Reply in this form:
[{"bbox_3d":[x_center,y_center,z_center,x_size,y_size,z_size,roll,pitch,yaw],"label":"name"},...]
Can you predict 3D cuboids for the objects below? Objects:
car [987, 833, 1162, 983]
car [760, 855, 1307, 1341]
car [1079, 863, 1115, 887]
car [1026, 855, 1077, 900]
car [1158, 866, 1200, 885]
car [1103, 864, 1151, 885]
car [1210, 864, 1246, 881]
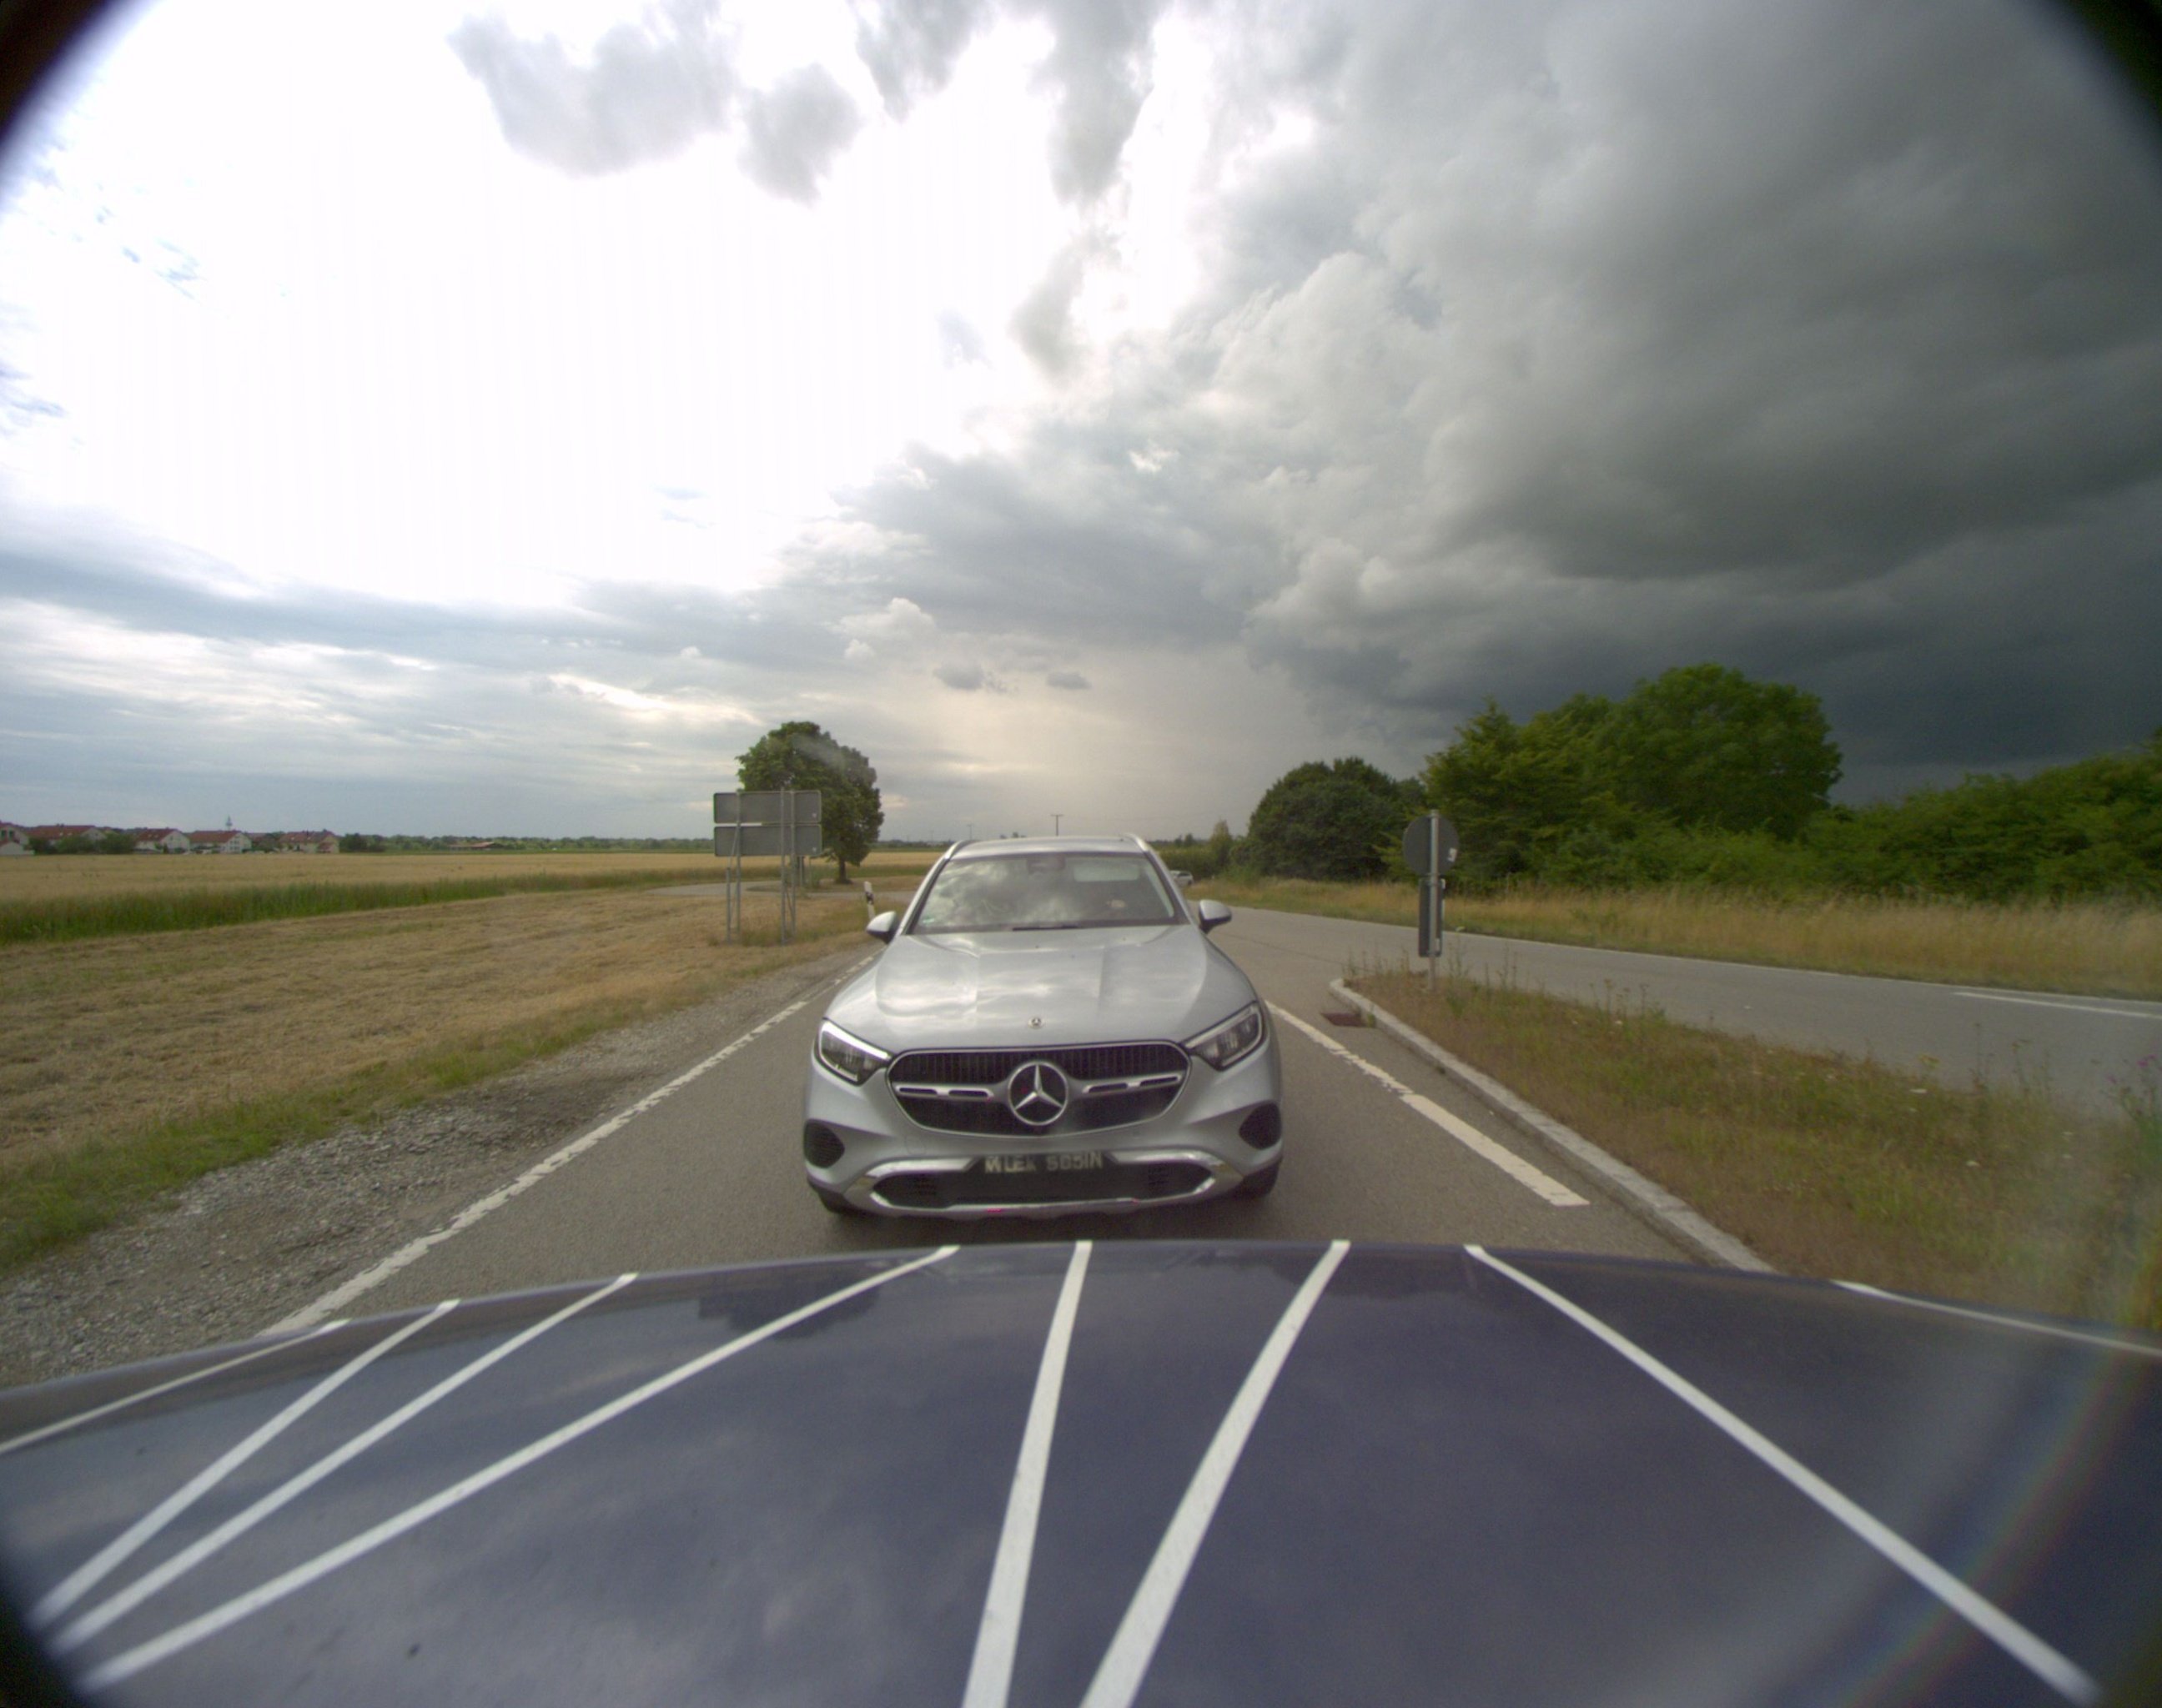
[{"bbox_3d":[-0.096,0.641,11.405,1.999,1.709,5.208,1,0,0],"label":"car"},{"bbox_3d":[-0.225,0.824,4.796,1.837,1.577,4.448,0,1,-2],"label":"car"},{"bbox_3d":[1.290,1.608,60.067,1.997,1.709,5.213,3,0,10],"label":"car"},{"bbox_3d":[-1.205,0.924,32.578,1.999,1.710,5.207,0,1,-1],"label":"car"},{"bbox_3d":[9.989,2.174,77.240,1.994,1.710,5.219,3,2,36],"label":"car"},{"bbox_3d":[4.223,1.912,69.220,1.994,1.709,5.221,3,-1,33],"label":"car"},{"bbox_3d":[16.822,2.096,86.687,1.994,1.710,5.219,3,2,36],"label":"car"}]
